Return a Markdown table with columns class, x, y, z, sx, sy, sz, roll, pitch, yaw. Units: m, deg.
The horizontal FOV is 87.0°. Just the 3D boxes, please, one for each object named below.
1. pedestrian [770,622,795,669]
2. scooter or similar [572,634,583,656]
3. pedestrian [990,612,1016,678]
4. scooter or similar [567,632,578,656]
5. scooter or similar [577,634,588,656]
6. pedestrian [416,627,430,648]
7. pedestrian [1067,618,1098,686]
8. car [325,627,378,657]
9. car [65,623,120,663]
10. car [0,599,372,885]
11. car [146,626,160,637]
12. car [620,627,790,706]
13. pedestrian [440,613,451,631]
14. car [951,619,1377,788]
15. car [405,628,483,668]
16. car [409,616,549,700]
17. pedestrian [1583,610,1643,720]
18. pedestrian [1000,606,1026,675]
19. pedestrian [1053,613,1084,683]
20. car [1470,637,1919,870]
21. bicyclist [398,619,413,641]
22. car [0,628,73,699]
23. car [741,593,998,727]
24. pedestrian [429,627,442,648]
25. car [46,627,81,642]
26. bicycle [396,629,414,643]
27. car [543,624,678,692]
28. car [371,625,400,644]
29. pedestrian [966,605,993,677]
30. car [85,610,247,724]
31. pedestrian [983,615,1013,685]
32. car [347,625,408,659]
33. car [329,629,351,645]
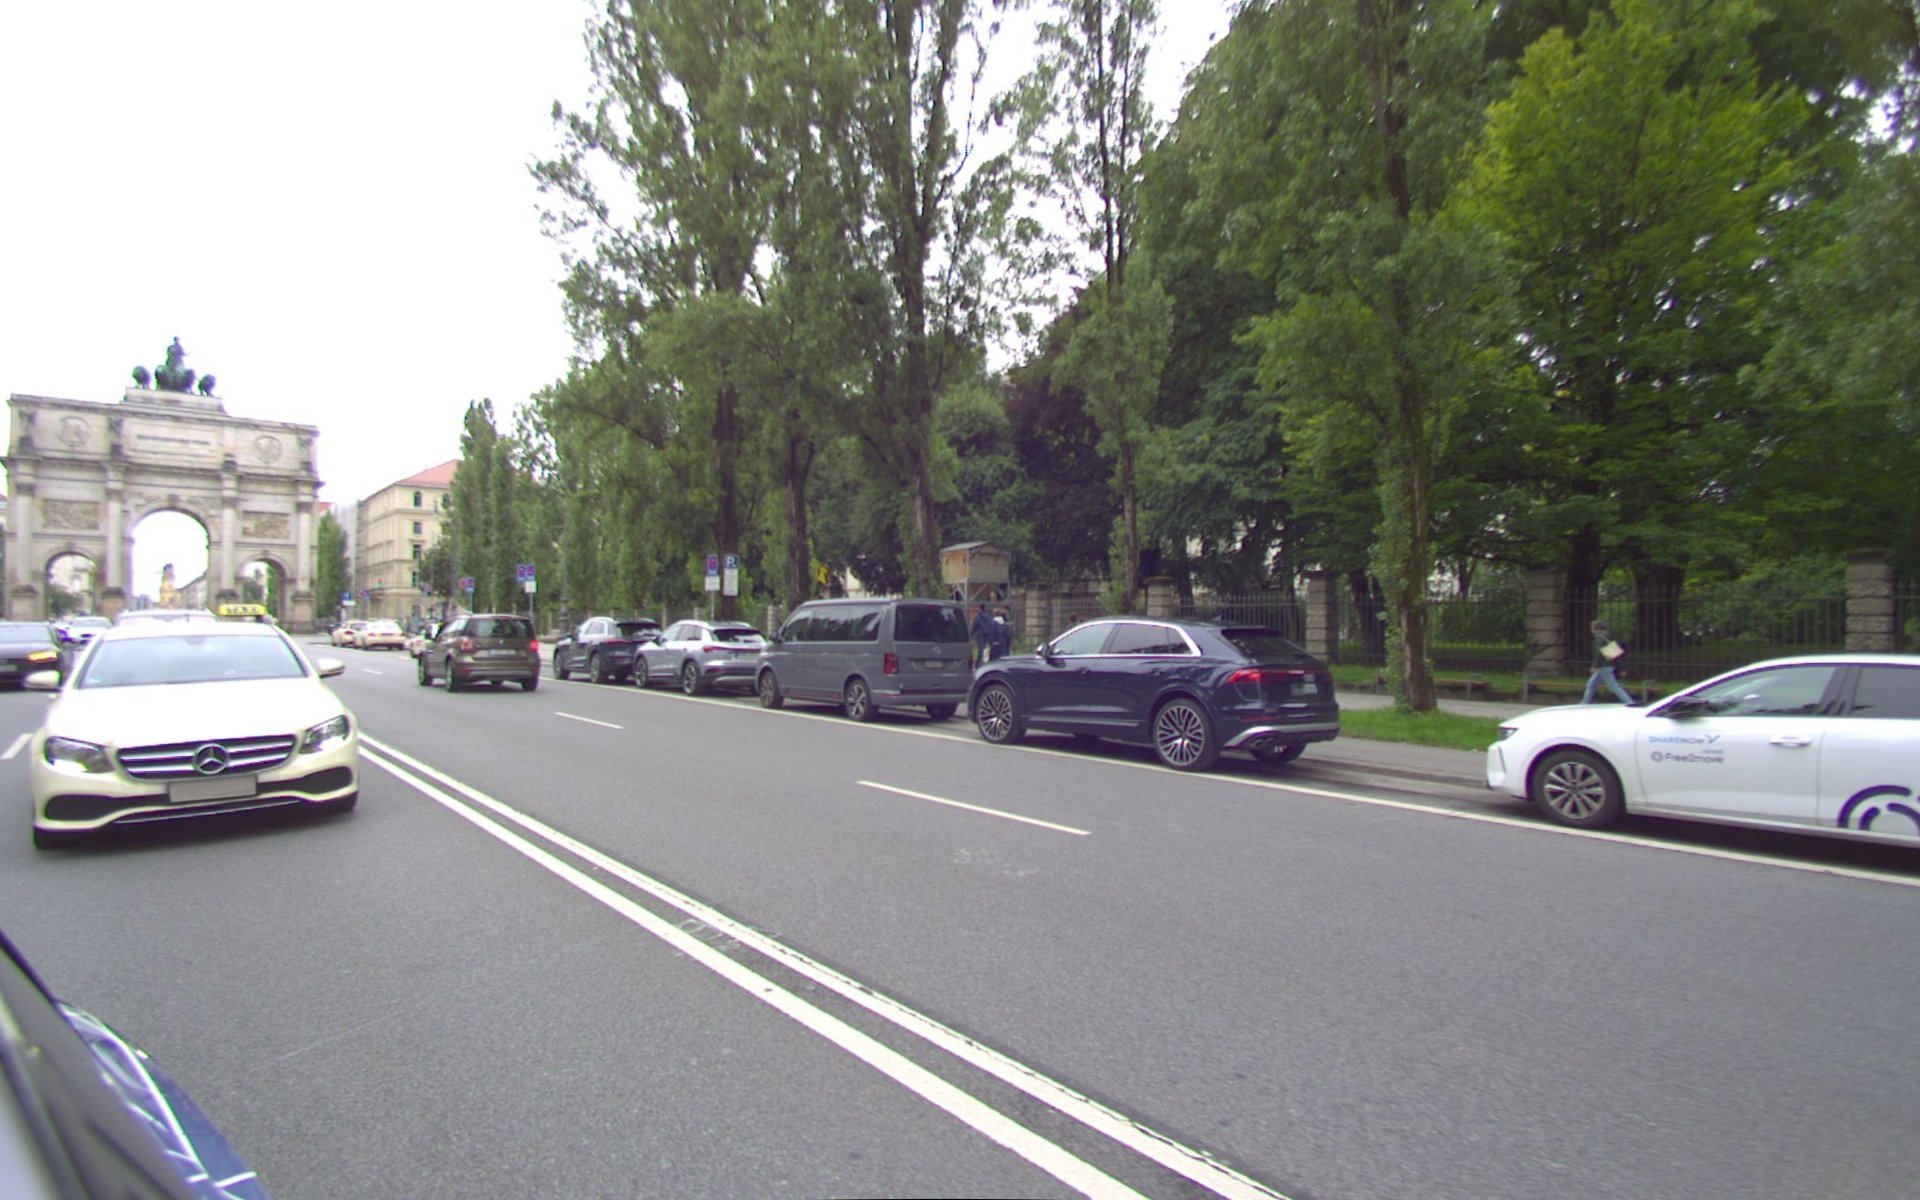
| class | x | y | z | sx | sy | sz | roll | pitch | yaw |
| --- | --- | --- | --- | --- | --- | --- | --- | --- | --- |
| pedestrian | -6.340 | 1.612 | 36.170 | 0.610 | 1.672 | 0.706 | 1 | -2 | -38 |
| scooter or similar | -20.966 | 2.453 | 55.468 | 0.240 | 1.210 | 1.124 | 1 | -2 | -39 |
| pedestrian | 1.212 | 1.255 | 28.433 | 0.428 | 1.849 | 0.613 | 1 | -2 | -40 |
| scooter or similar | -21.175 | 2.398 | 55.302 | 0.255 | 1.251 | 1.143 | 1 | -2 | -38 |
| scooter or similar | -20.763 | 2.455 | 55.630 | 0.240 | 1.210 | 1.124 | 1 | -2 | -39 |
| pedestrian | -43.251 | 3.033 | 81.509 | 0.833 | 1.691 | 0.969 | 1 | -2 | -33 |
| pedestrian | 3.085 | 1.301 | 25.415 | 0.542 | 1.682 | 0.533 | 1 | -2 | -40 |
| car | -34.607 | 2.342 | 57.505 | 1.795 | 1.571 | 4.867 | 4 | -3 | -39 |
| car | -42.428 | 2.066 | 49.588 | 1.861 | 1.871 | 4.321 | 1 | -2 | -39 |
| car | -6.171 | 0.833 | 8.118 | 1.890 | 1.587 | 4.699 | -1 | 0 | -38 |
| car | -156.342 | 6.064 | 196.106 | 1.968 | 2.029 | 4.402 | 1 | -2 | -40 |
| car | -5.836 | 1.422 | 22.779 | 1.866 | 1.596 | 4.662 | 3 | -3 | -39 |
| pedestrian | -57.352 | 2.491 | 112.815 | 0.749 | 2.029 | 0.790 | -1 | -2 | 16 |
| car | 2.193 | 1.094 | 12.277 | 1.792 | 1.621 | 5.062 | 4 | -4 | -39 |
| car | -20.909 | 1.937 | 40.908 | 1.906 | 1.509 | 4.799 | 2 | -3 | -38 |
| car | -10.663 | 1.239 | 22.283 | 1.762 | 1.669 | 4.120 | 3 | -3 | -40 |
| pedestrian | 10.752 | 1.046 | 16.661 | 0.542 | 1.761 | 0.674 | 1 | -2 | -40 |
| pedestrian | 1.521 | 1.152 | 29.041 | 0.542 | 1.974 | 0.533 | 1 | -2 | -40 |
| pedestrian | 2.683 | 1.176 | 25.051 | 0.542 | 1.714 | 0.533 | 1 | -2 | -40 |
| car | 6.295 | 1.035 | 7.447 | 1.655 | 1.433 | 4.245 | 3 | -3 | -39 |
| bicyclist | -36.995 | 2.002 | 67.481 | 0.685 | 1.510 | 0.863 | 2 | -3 | -41 |
| car | -20.420 | 1.322 | 21.819 | 1.894 | 1.338 | 4.418 | -1 | 0 | -41 |
| car | -1.722 | 0.994 | 17.525 | 1.968 | 1.971 | 4.945 | 4 | -4 | -39 |
| pedestrian | -42.396 | 3.031 | 81.752 | 0.833 | 1.691 | 0.969 | 1 | -2 | -33 |
| car | -105.430 | 4.027 | 119.037 | 1.757 | 1.763 | 4.334 | 1 | -2 | -23 |
| bicycle | -36.960 | 2.406 | 67.424 | 0.698 | 0.946 | 1.738 | 1 | -2 | -40 |
| car | -9.139 | 1.467 | 26.246 | 1.759 | 1.608 | 4.621 | 4 | -4 | -39 |
| car | -62.608 | 3.722 | 110.221 | 1.973 | 1.869 | 5.001 | 3 | -2 | -37 |
| pedestrian | 0.538 | 1.144 | 28.271 | 0.542 | 1.974 | 0.533 | 1 | -2 | -40 |
| car | -13.470 | 1.019 | 17.160 | 1.924 | 1.636 | 4.419 | -1 | 0 | -39 |
| pedestrian | 0.970 | 1.267 | 25.796 | 0.542 | 1.761 | 0.533 | 1 | -2 | -40 |
| car | -30.142 | 2.142 | 52.295 | 1.913 | 1.637 | 4.974 | 2 | -2 | -39 |
| car | -65.435 | 3.909 | 106.790 | 1.757 | 1.684 | 4.010 | 1 | -2 | -35 |
